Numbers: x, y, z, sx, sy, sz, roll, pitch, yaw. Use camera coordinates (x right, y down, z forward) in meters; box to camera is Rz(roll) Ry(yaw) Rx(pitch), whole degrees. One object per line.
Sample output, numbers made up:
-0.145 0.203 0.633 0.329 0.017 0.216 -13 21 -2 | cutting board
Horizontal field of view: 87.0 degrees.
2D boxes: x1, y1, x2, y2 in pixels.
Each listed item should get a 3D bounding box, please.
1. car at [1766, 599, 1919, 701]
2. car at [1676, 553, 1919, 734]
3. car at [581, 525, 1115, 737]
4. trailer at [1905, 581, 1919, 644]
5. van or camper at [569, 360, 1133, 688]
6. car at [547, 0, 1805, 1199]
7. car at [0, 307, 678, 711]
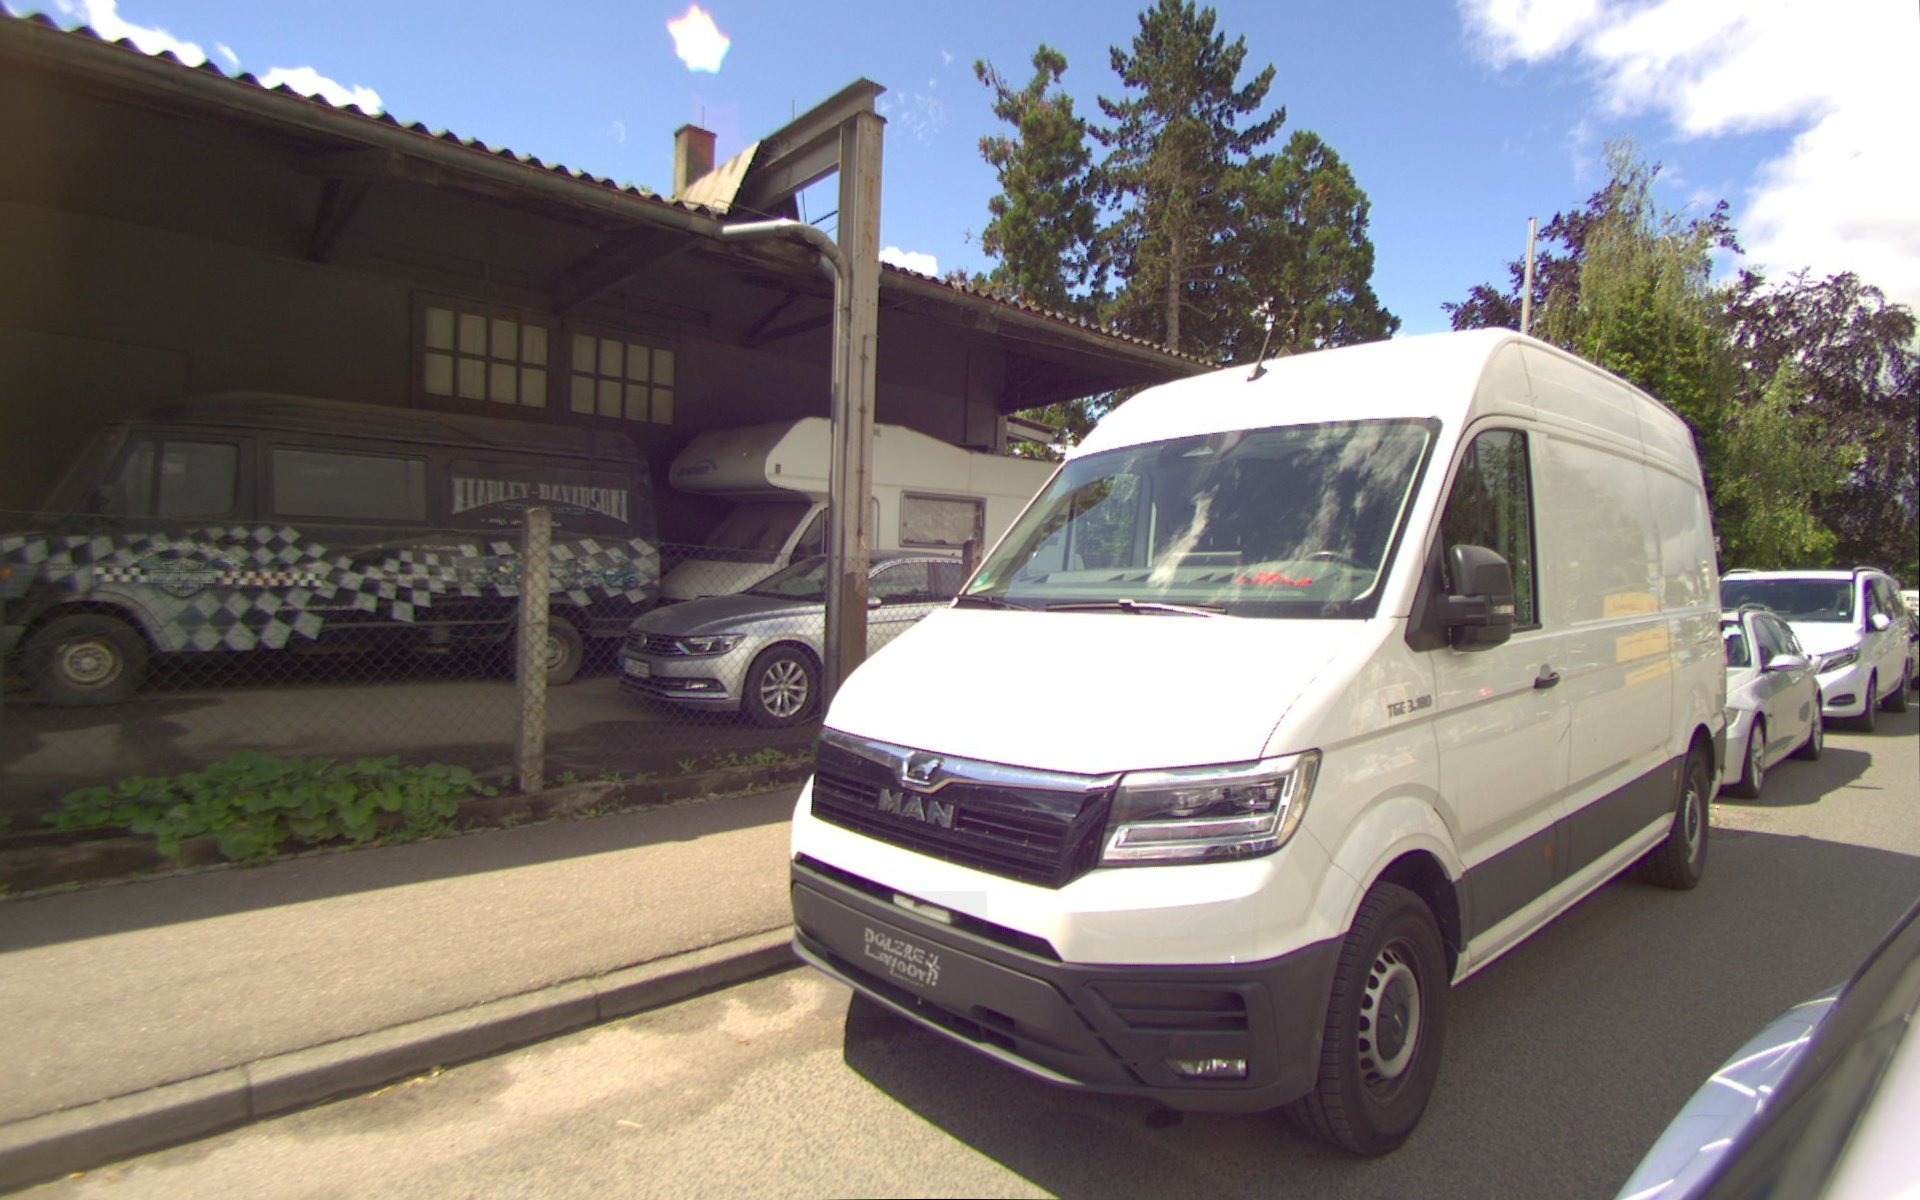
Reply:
15.071 0.718 16.857 4.907 1.469 1.757 0 0 -41 | car
11.119 0.457 13.177 5.298 1.909 1.907 0 0 -43 | car
-0.802 0.217 9.484 4.841 1.508 1.767 1 1 -42 | car
30.106 0.369 30.469 4.682 1.846 1.996 0 0 -42 | trailer
-1.048 -0.773 12.963 6.797 3.098 2.885 0 2 -43 | van or camper
1.846 -0.065 4.628 6.545 2.722 2.218 0 2 -43 | car
-5.530 -0.601 9.095 5.404 2.715 2.020 2 1 -43 | car
